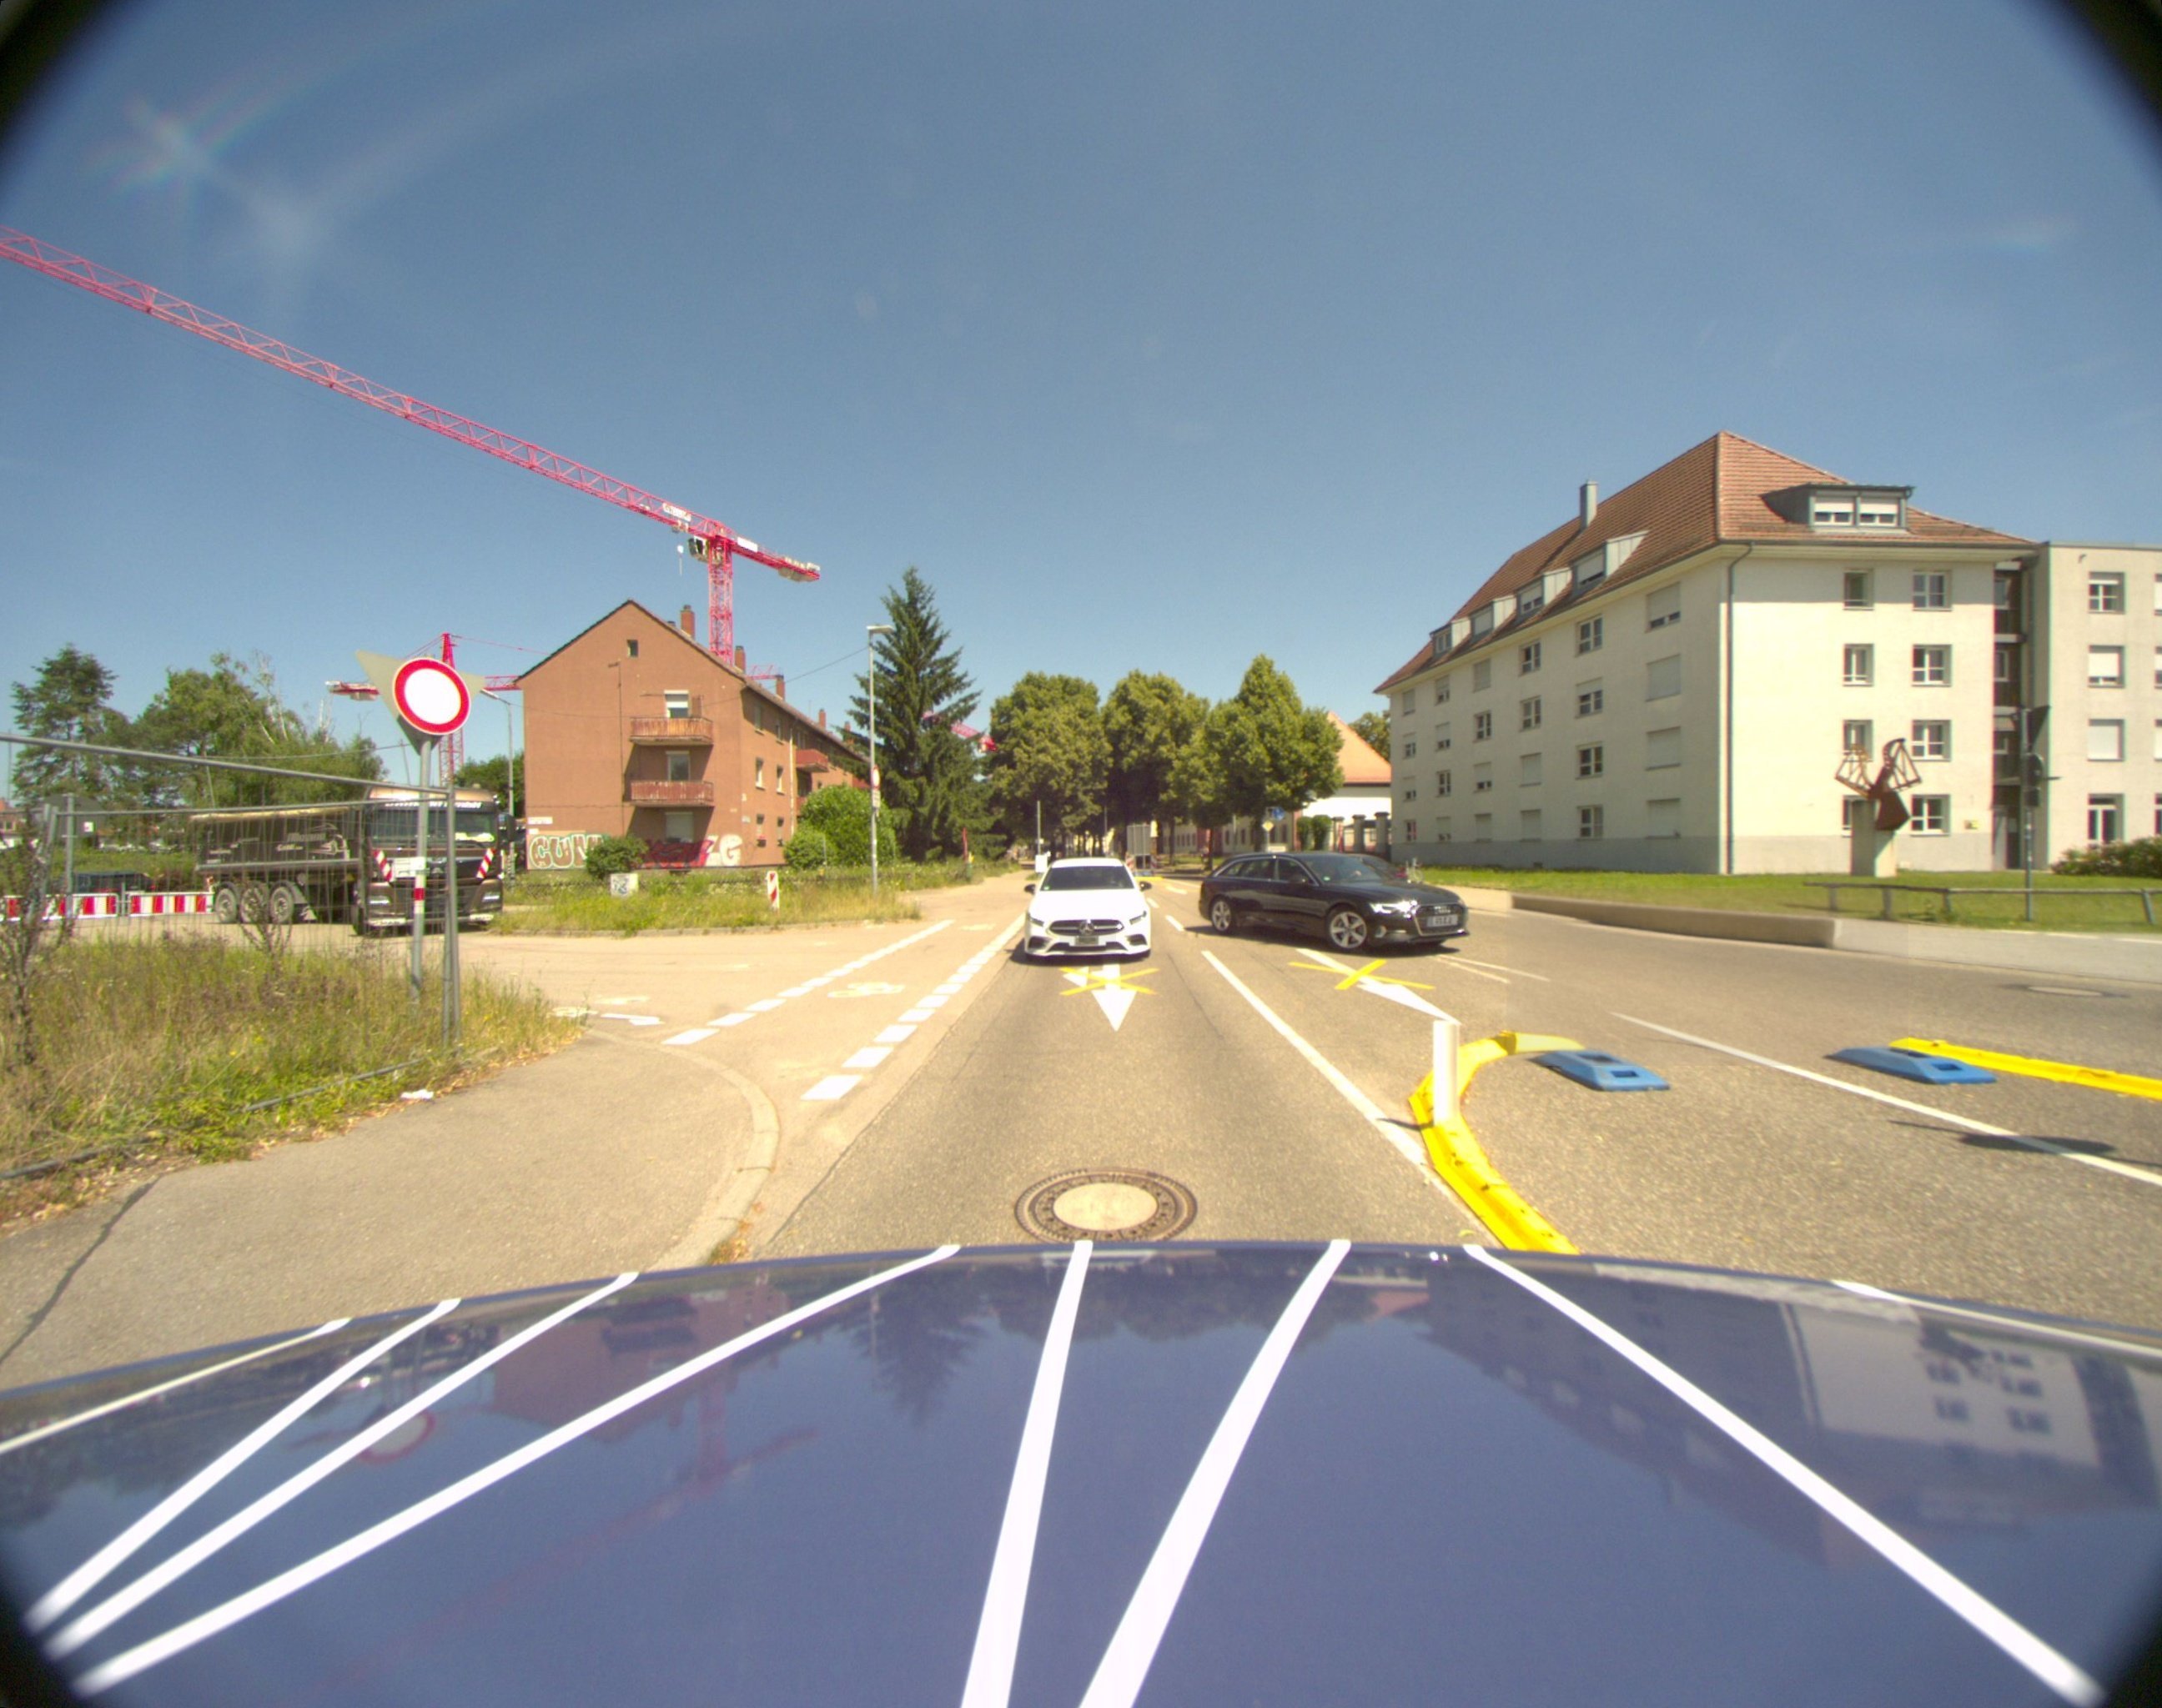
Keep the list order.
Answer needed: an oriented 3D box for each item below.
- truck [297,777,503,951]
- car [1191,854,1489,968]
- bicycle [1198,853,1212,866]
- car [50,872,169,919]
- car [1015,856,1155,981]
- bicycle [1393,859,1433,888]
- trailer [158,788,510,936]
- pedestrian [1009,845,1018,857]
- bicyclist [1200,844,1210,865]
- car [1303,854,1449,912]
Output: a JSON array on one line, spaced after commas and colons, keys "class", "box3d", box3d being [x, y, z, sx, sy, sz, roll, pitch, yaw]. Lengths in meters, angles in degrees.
[{"class": "truck", "box3d": [-16.374, 0.199, 18.195, 4.950, 3.512, 3.171, 0, 1, 43]}, {"class": "car", "box3d": [3.771, 0.740, 12.050, 1.804, 1.443, 4.609, 0, 0, -25]}, {"class": "bicycle", "box3d": [9.248, 0.386, 56.742, 0.562, 0.910, 1.907, -1, 1, -5]}, {"class": "car", "box3d": [-35.873, 1.519, 28.075, 3.412, 1.604, 1.371, -1, 1, 14]}, {"class": "car", "box3d": [0.054, 0.847, 11.908, 1.780, 1.536, 3.962, -2, 0, 0]}, {"class": "bicycle", "box3d": [13.050, 0.754, 29.908, 0.709, 1.018, 1.985, -4, 1, 1]}, {"class": "trailer", "box3d": [-20.526, 0.238, 20.890, 8.972, 3.512, 3.169, -1, 1, 19]}, {"class": "pedestrian", "box3d": [-8.917, -0.437, 100.306, 1.024, 1.509, 0.682, -1, 1, 1]}, {"class": "bicyclist", "box3d": [9.242, 0.027, 56.737, 0.568, 1.601, 0.740, -1, 1, -5]}, {"class": "car", "box3d": [7.898, 0.712, 20.878, 1.821, 1.395, 4.631, 0, 0, -6]}]
